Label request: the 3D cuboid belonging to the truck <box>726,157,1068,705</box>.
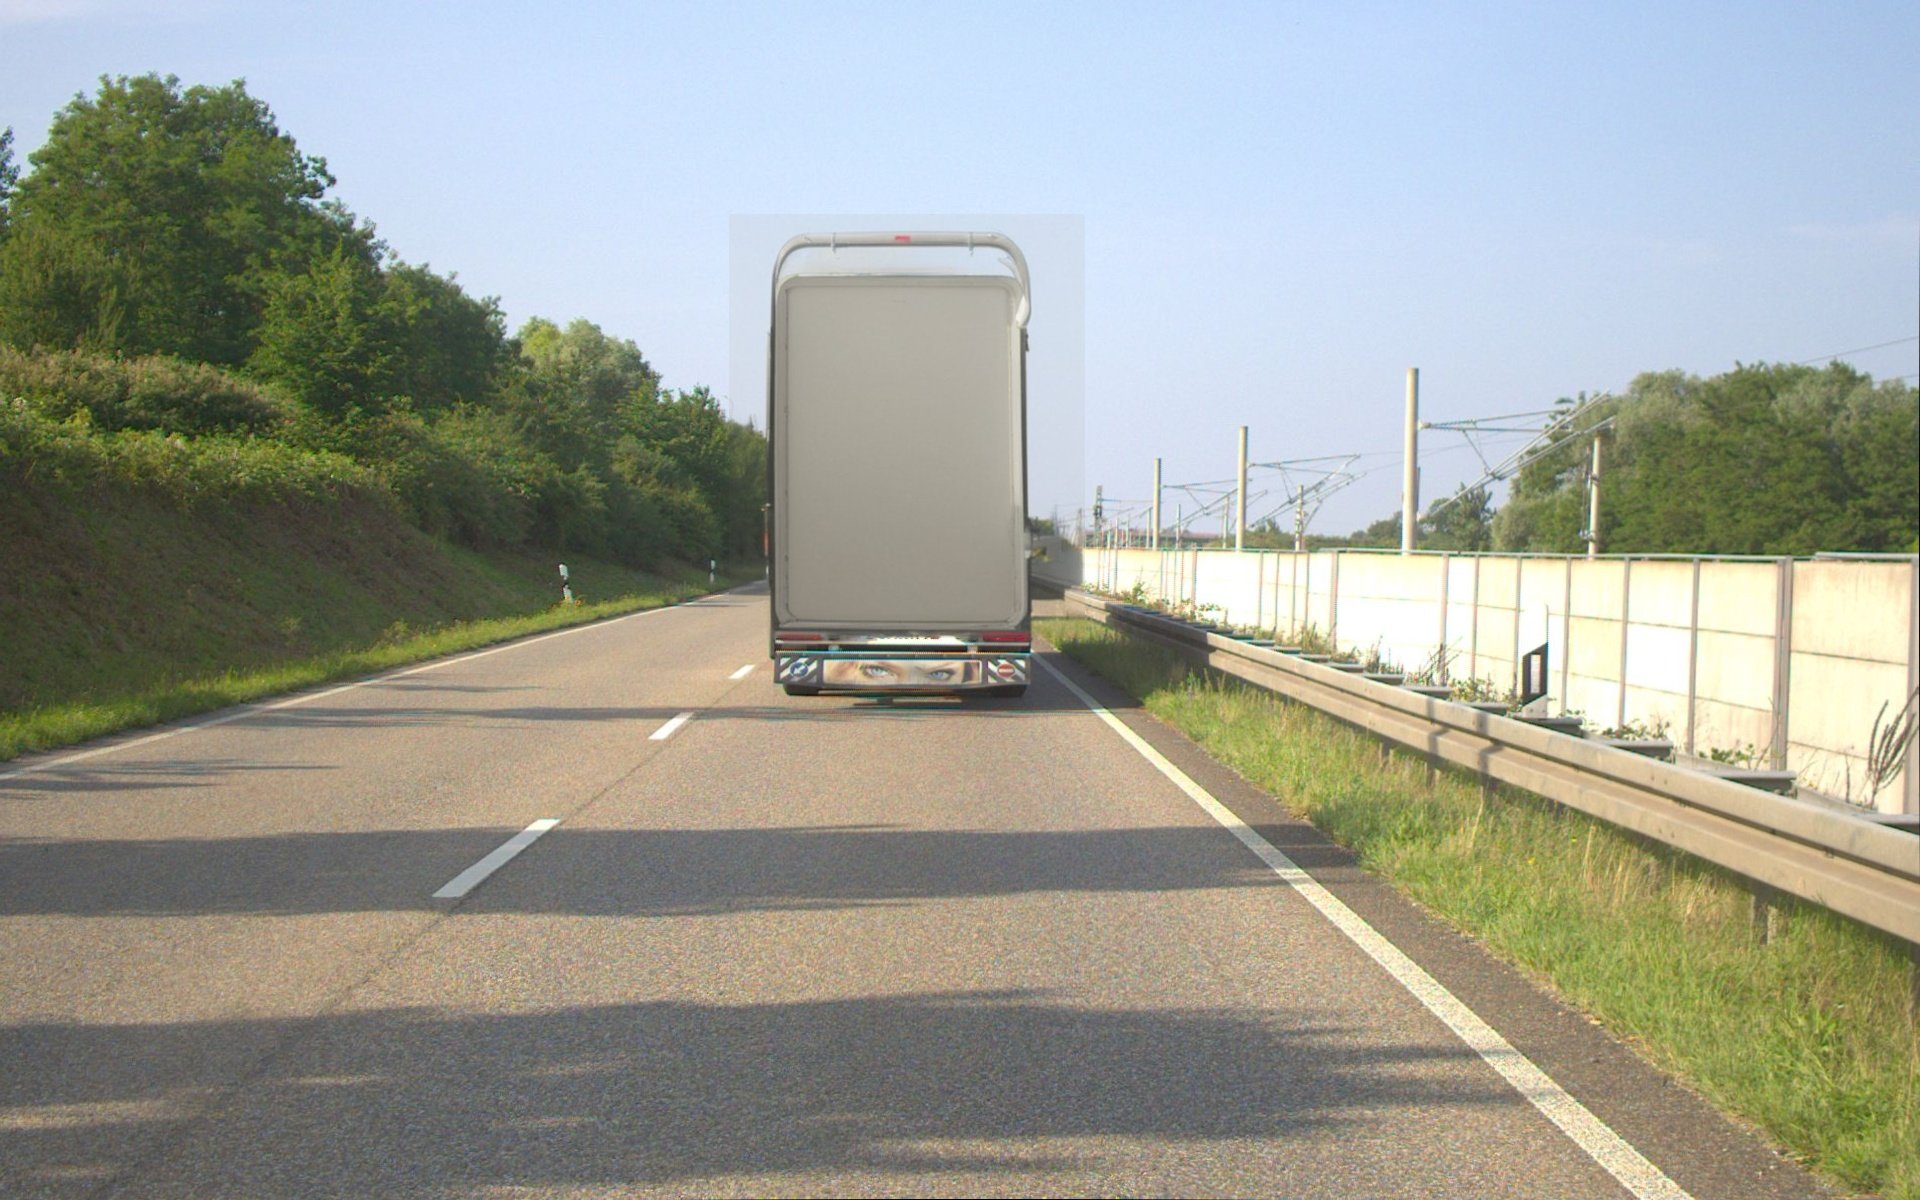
[{"bbox_3d":[-0.754,-1.631,36.817,3.033,4.903,11.685,1,1,-2],"label":"truck"}]
